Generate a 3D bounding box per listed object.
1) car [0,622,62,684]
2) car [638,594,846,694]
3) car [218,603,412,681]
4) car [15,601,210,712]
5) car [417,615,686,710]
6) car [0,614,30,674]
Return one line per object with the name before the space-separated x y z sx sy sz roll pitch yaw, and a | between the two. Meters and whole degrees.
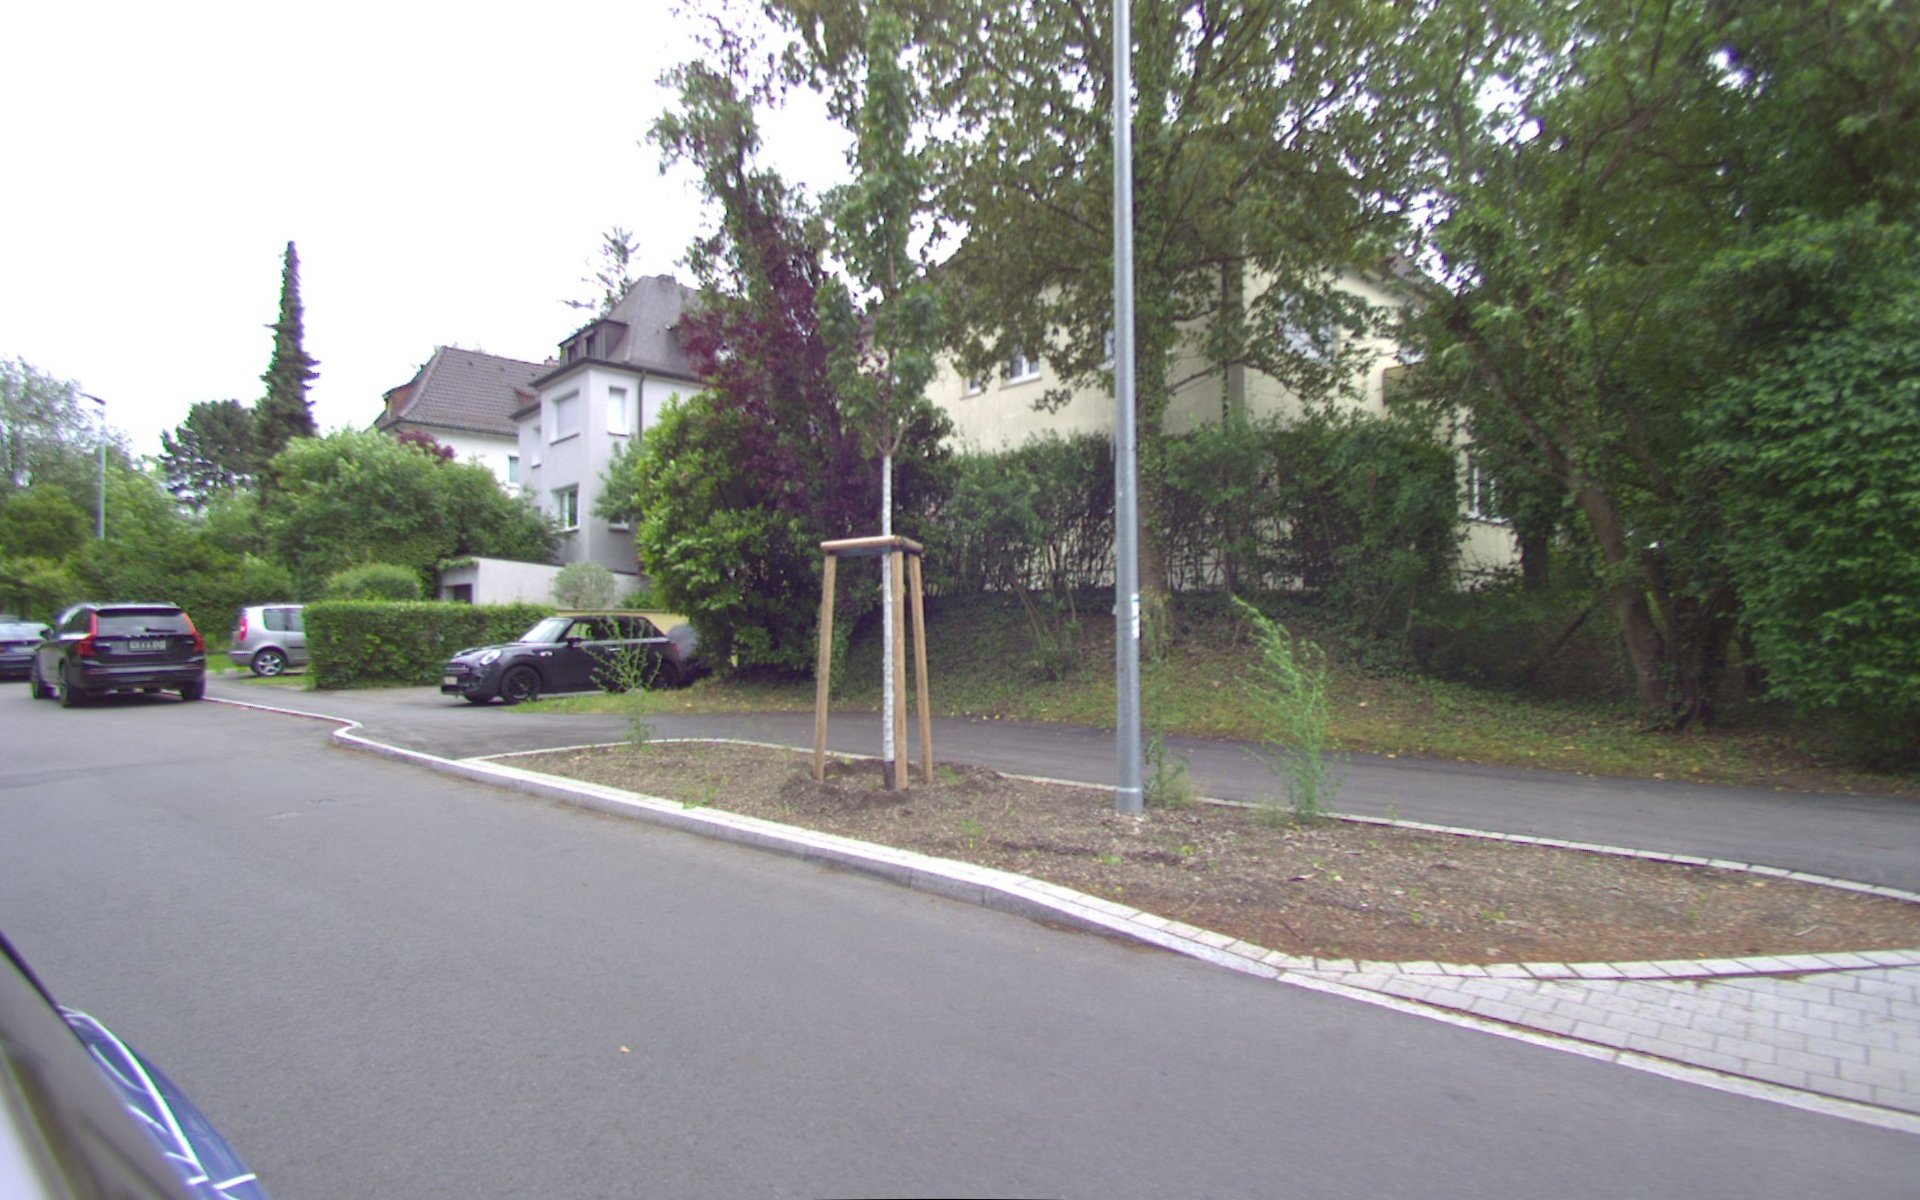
car | -23.883 1.279 25.156 4.896 1.423 1.736 -1 -1 41
car | -4.315 0.934 20.292 2.010 1.807 3.507 -2 -5 44
car | -15.064 0.918 23.696 3.645 1.650 1.832 -1 -1 -39
car | -15.542 0.938 18.442 5.187 1.750 1.954 -1 -1 41
car | -6.719 0.973 16.904 1.777 1.396 3.782 -3 -2 42
car | -28.025 1.241 28.697 4.562 1.644 1.715 -1 -1 38
